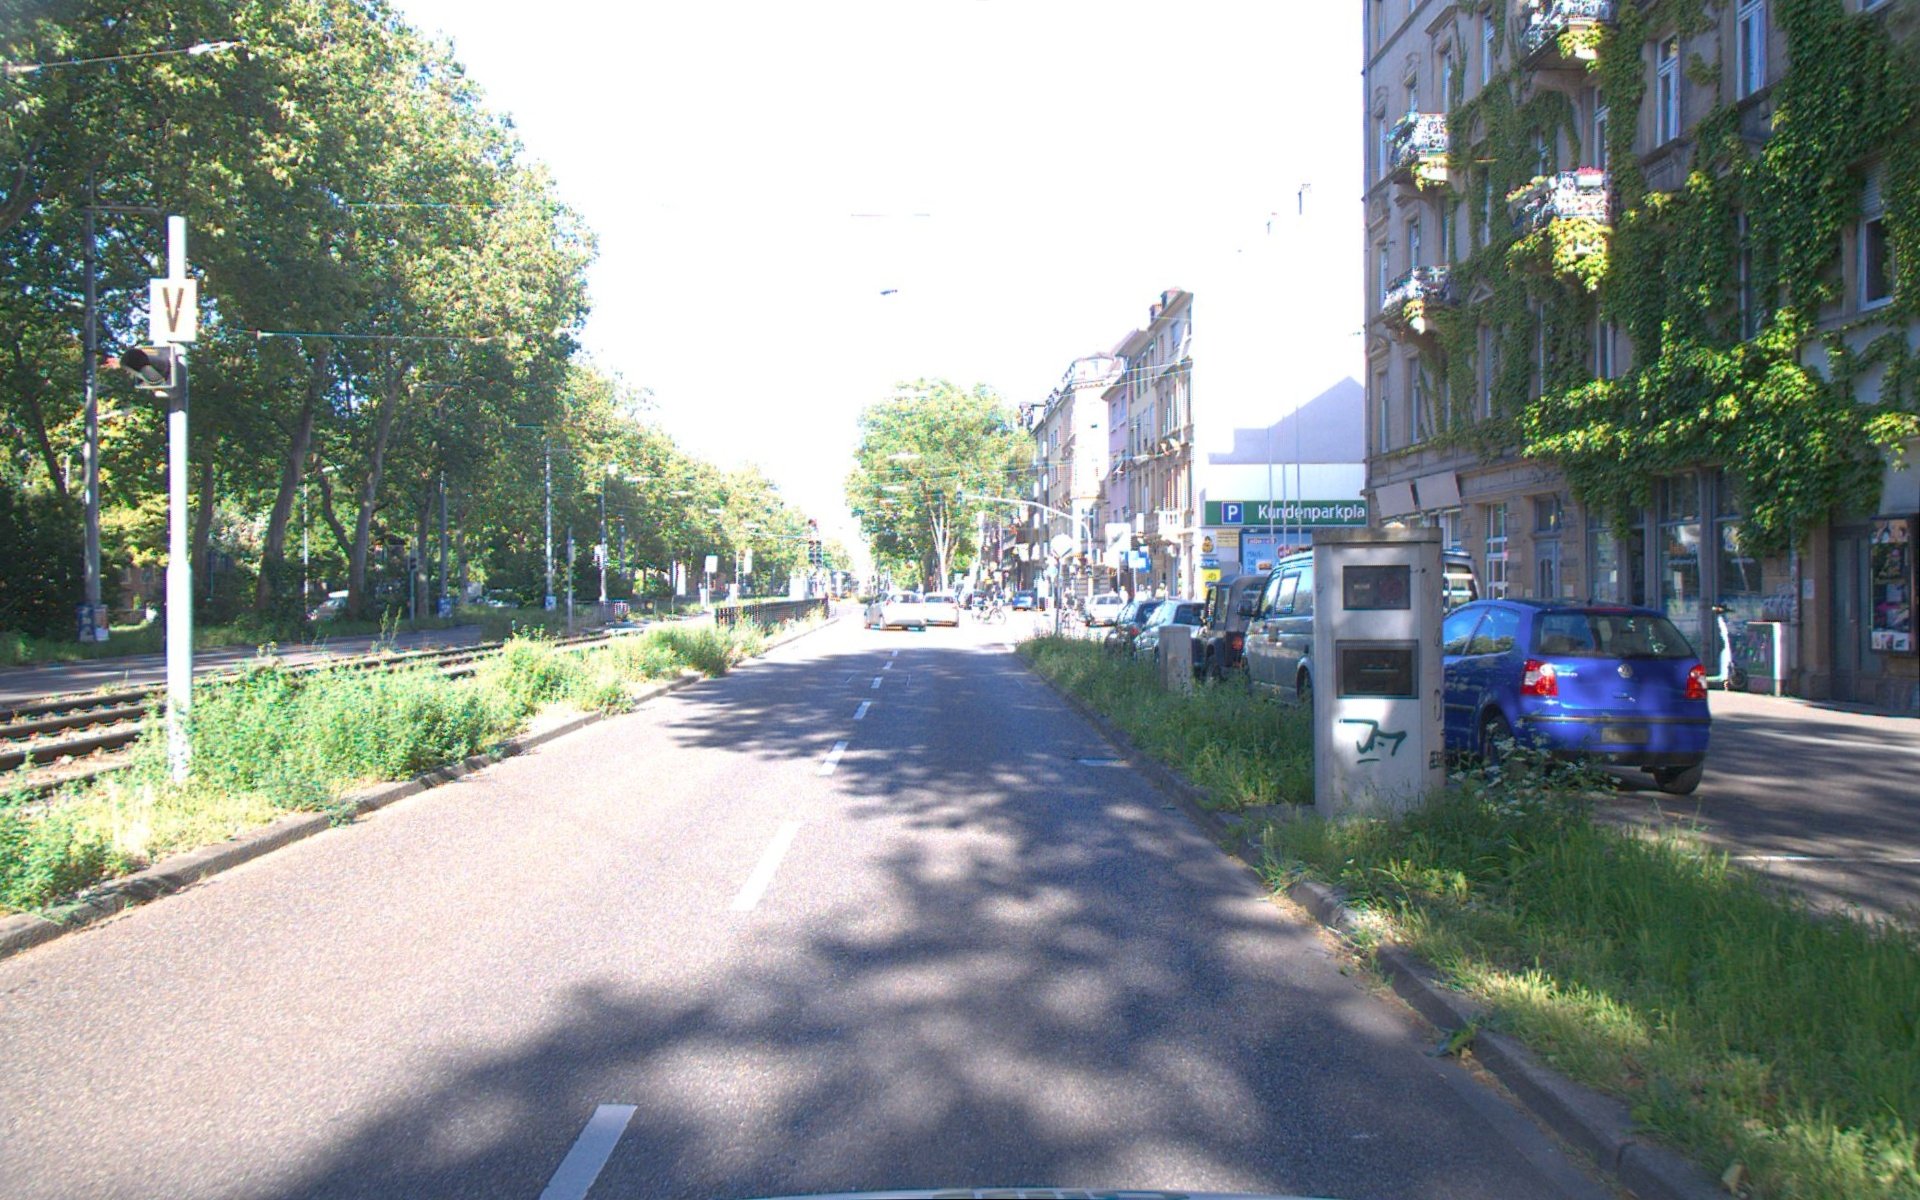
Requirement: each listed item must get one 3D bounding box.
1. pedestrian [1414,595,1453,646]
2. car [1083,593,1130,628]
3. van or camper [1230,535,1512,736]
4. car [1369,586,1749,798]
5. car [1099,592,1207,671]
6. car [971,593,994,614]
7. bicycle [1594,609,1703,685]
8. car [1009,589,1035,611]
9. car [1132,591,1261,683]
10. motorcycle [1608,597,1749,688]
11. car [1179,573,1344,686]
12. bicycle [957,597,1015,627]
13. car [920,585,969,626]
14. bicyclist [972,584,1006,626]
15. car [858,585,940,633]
[{"bbox_3d":[11.147,0.476,38.918,0.693,1.171,0.740,0,0,-1],"label":"pedestrian"},{"bbox_3d":[6.559,0.451,74.195,1.649,1.535,3.666,1,0,-2],"label":"car"},{"bbox_3d":[4.543,0.352,19.139,1.802,1.997,5.124,1,0,-2],"label":"van or camper"},{"bbox_3d":[4.843,0.674,13.923,1.650,1.540,3.664,1,0,-4],"label":"car"},{"bbox_3d":[3.922,0.609,34.076,1.649,1.535,3.666,1,0,-2],"label":"car"},{"bbox_3d":[1.656,0.276,122.550,1.648,1.535,3.667,1,0,0],"label":"car"},{"bbox_3d":[11.235,0.741,27.089,0.868,1.154,2.399,0,0,3],"label":"bicycle"},{"bbox_3d":[4.535,0.002,121.844,1.649,1.535,3.666,1,0,-2],"label":"car"},{"bbox_3d":[4.174,0.620,29.646,1.649,1.535,3.666,1,0,-2],"label":"car"},{"bbox_3d":[10.918,0.629,25.177,1.863,1.290,0.555,2,0,45],"label":"motorcycle"},{"bbox_3d":[4.394,0.393,24.587,1.649,1.535,3.666,0,0,-2],"label":"car"},{"bbox_3d":[1.178,0.553,75.921,2.472,1.337,0.989,0,0,25],"label":"bicycle"},{"bbox_3d":[-0.712,0.218,71.465,1.981,1.691,3.998,0,0,-3],"label":"car"},{"bbox_3d":[1.330,0.219,75.854,1.297,1.915,0.980,0,0,24],"label":"bicyclist"},{"bbox_3d":[-2.283,0.317,61.076,1.991,1.691,3.978,0,0,-19],"label":"car"}]
